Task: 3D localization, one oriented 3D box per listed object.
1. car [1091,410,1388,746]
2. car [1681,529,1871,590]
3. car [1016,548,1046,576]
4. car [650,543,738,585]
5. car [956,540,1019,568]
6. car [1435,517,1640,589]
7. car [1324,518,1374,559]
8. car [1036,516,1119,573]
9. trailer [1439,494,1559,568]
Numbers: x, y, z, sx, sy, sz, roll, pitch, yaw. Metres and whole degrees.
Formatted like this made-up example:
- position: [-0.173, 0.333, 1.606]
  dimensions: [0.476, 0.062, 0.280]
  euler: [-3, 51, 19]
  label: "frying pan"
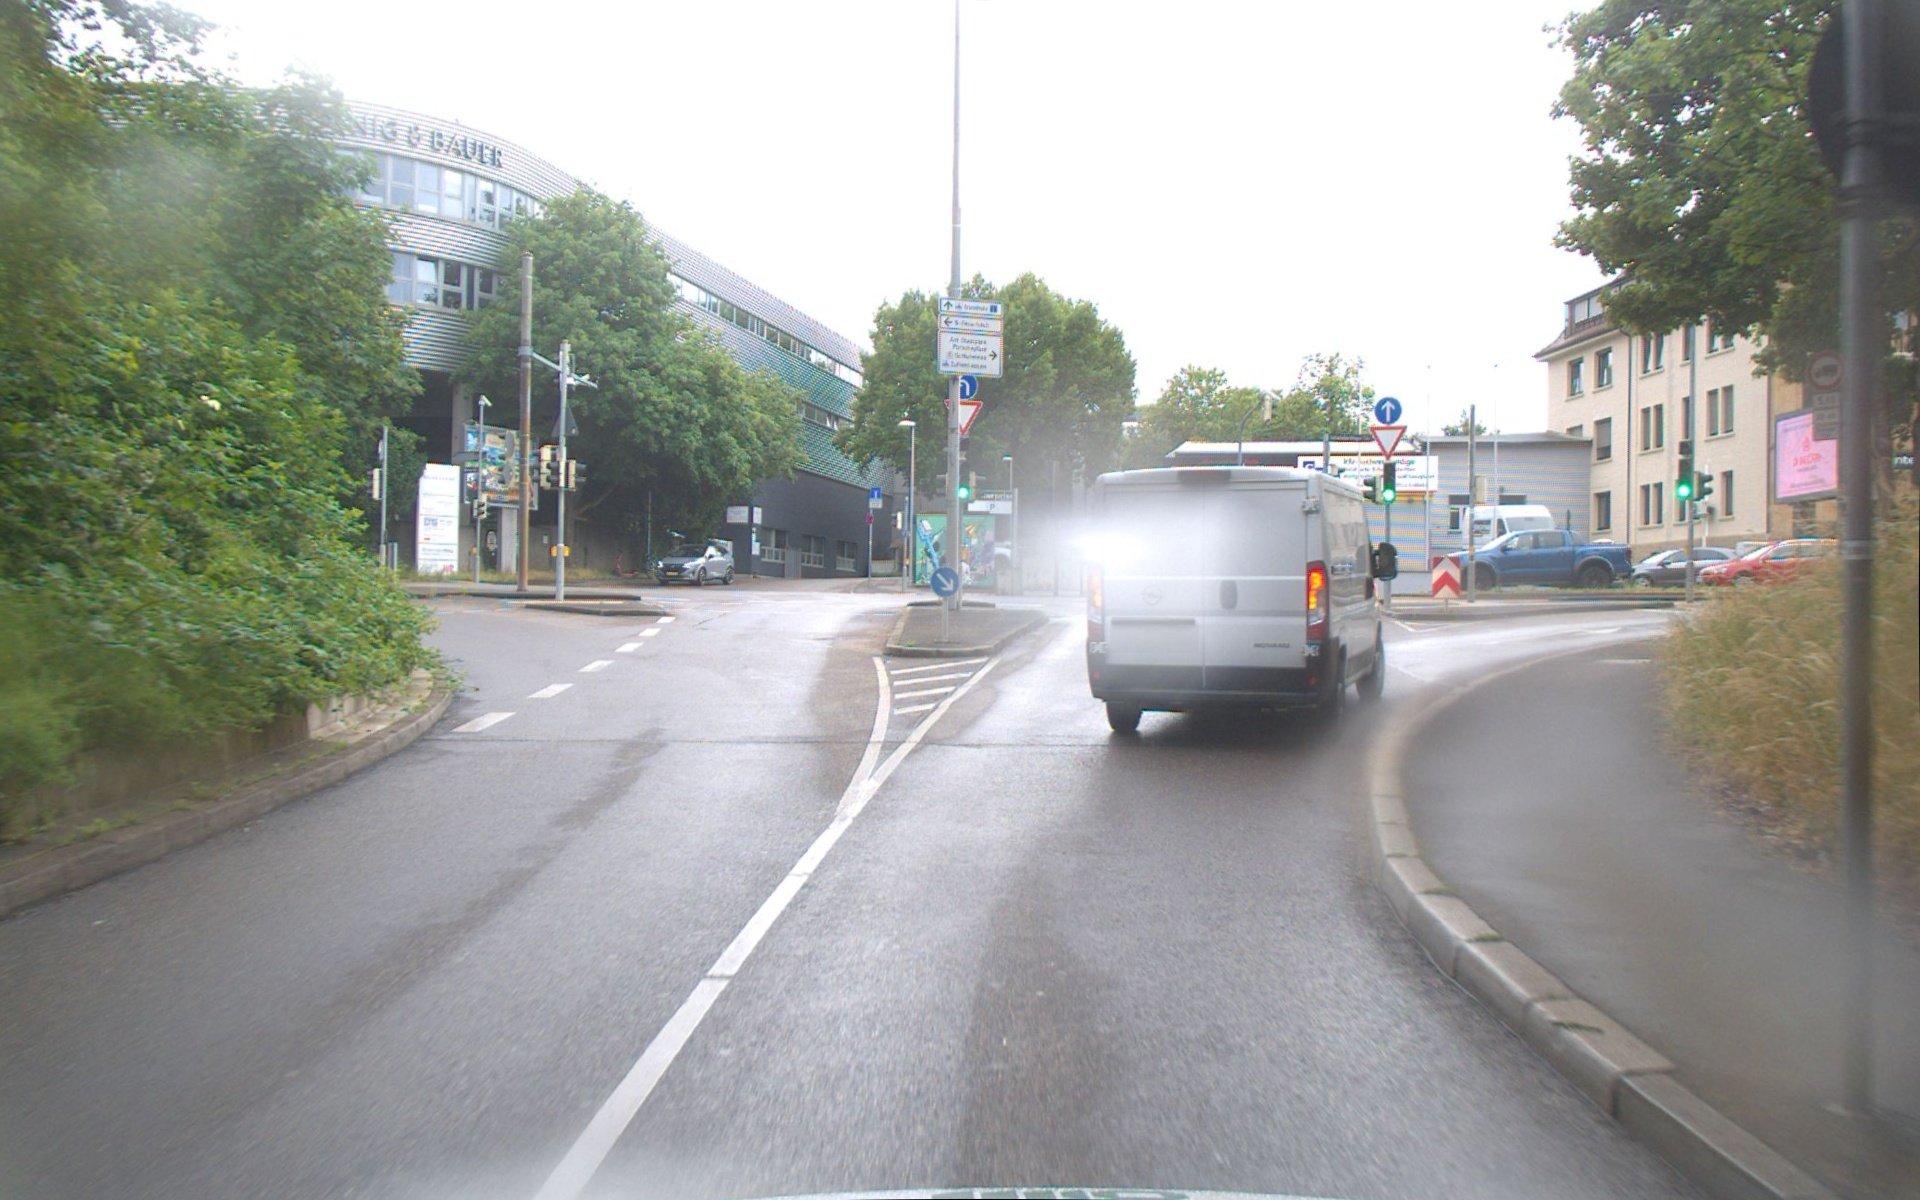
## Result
- position: [2.752, -0.320, 15.250]
  dimensions: [2.007, 2.559, 4.948]
  euler: [1, 4, 18]
  label: "car"
- position: [22.420, -1.094, 45.531]
  dimensions: [4.336, 1.558, 1.812]
  euler: [1, -1, 1]
  label: "car"
- position: [3.561, -1.898, 82.697]
  dimensions: [1.183, 1.326, 2.340]
  euler: [1, -1, 10]
  label: "car"
- position: [-10.720, -1.486, 66.933]
  dimensions: [1.984, 1.627, 4.386]
  euler: [1, 2, 13]
  label: "car"
- position: [1.194, -1.983, 71.787]
  dimensions: [2.659, 1.124, 1.197]
  euler: [1, -1, -4]
  label: "car"
- position: [16.045, -1.290, 46.129]
  dimensions: [5.046, 1.850, 1.940]
  euler: [-1, -1, 2]
  label: "car"
- position: [14.056, -2.238, 59.822]
  dimensions: [1.198, 1.449, 2.688]
  euler: [0, 2, 1]
  label: "car"
- position: [4.293, -2.016, 61.332]
  dimensions: [2.170, 1.833, 5.365]
  euler: [1, 0, -6]
  label: "car"
- position: [20.734, -2.590, 64.035]
  dimensions: [2.338, 2.471, 7.120]
  euler: [1, 0, 0]
  label: "trailer"
